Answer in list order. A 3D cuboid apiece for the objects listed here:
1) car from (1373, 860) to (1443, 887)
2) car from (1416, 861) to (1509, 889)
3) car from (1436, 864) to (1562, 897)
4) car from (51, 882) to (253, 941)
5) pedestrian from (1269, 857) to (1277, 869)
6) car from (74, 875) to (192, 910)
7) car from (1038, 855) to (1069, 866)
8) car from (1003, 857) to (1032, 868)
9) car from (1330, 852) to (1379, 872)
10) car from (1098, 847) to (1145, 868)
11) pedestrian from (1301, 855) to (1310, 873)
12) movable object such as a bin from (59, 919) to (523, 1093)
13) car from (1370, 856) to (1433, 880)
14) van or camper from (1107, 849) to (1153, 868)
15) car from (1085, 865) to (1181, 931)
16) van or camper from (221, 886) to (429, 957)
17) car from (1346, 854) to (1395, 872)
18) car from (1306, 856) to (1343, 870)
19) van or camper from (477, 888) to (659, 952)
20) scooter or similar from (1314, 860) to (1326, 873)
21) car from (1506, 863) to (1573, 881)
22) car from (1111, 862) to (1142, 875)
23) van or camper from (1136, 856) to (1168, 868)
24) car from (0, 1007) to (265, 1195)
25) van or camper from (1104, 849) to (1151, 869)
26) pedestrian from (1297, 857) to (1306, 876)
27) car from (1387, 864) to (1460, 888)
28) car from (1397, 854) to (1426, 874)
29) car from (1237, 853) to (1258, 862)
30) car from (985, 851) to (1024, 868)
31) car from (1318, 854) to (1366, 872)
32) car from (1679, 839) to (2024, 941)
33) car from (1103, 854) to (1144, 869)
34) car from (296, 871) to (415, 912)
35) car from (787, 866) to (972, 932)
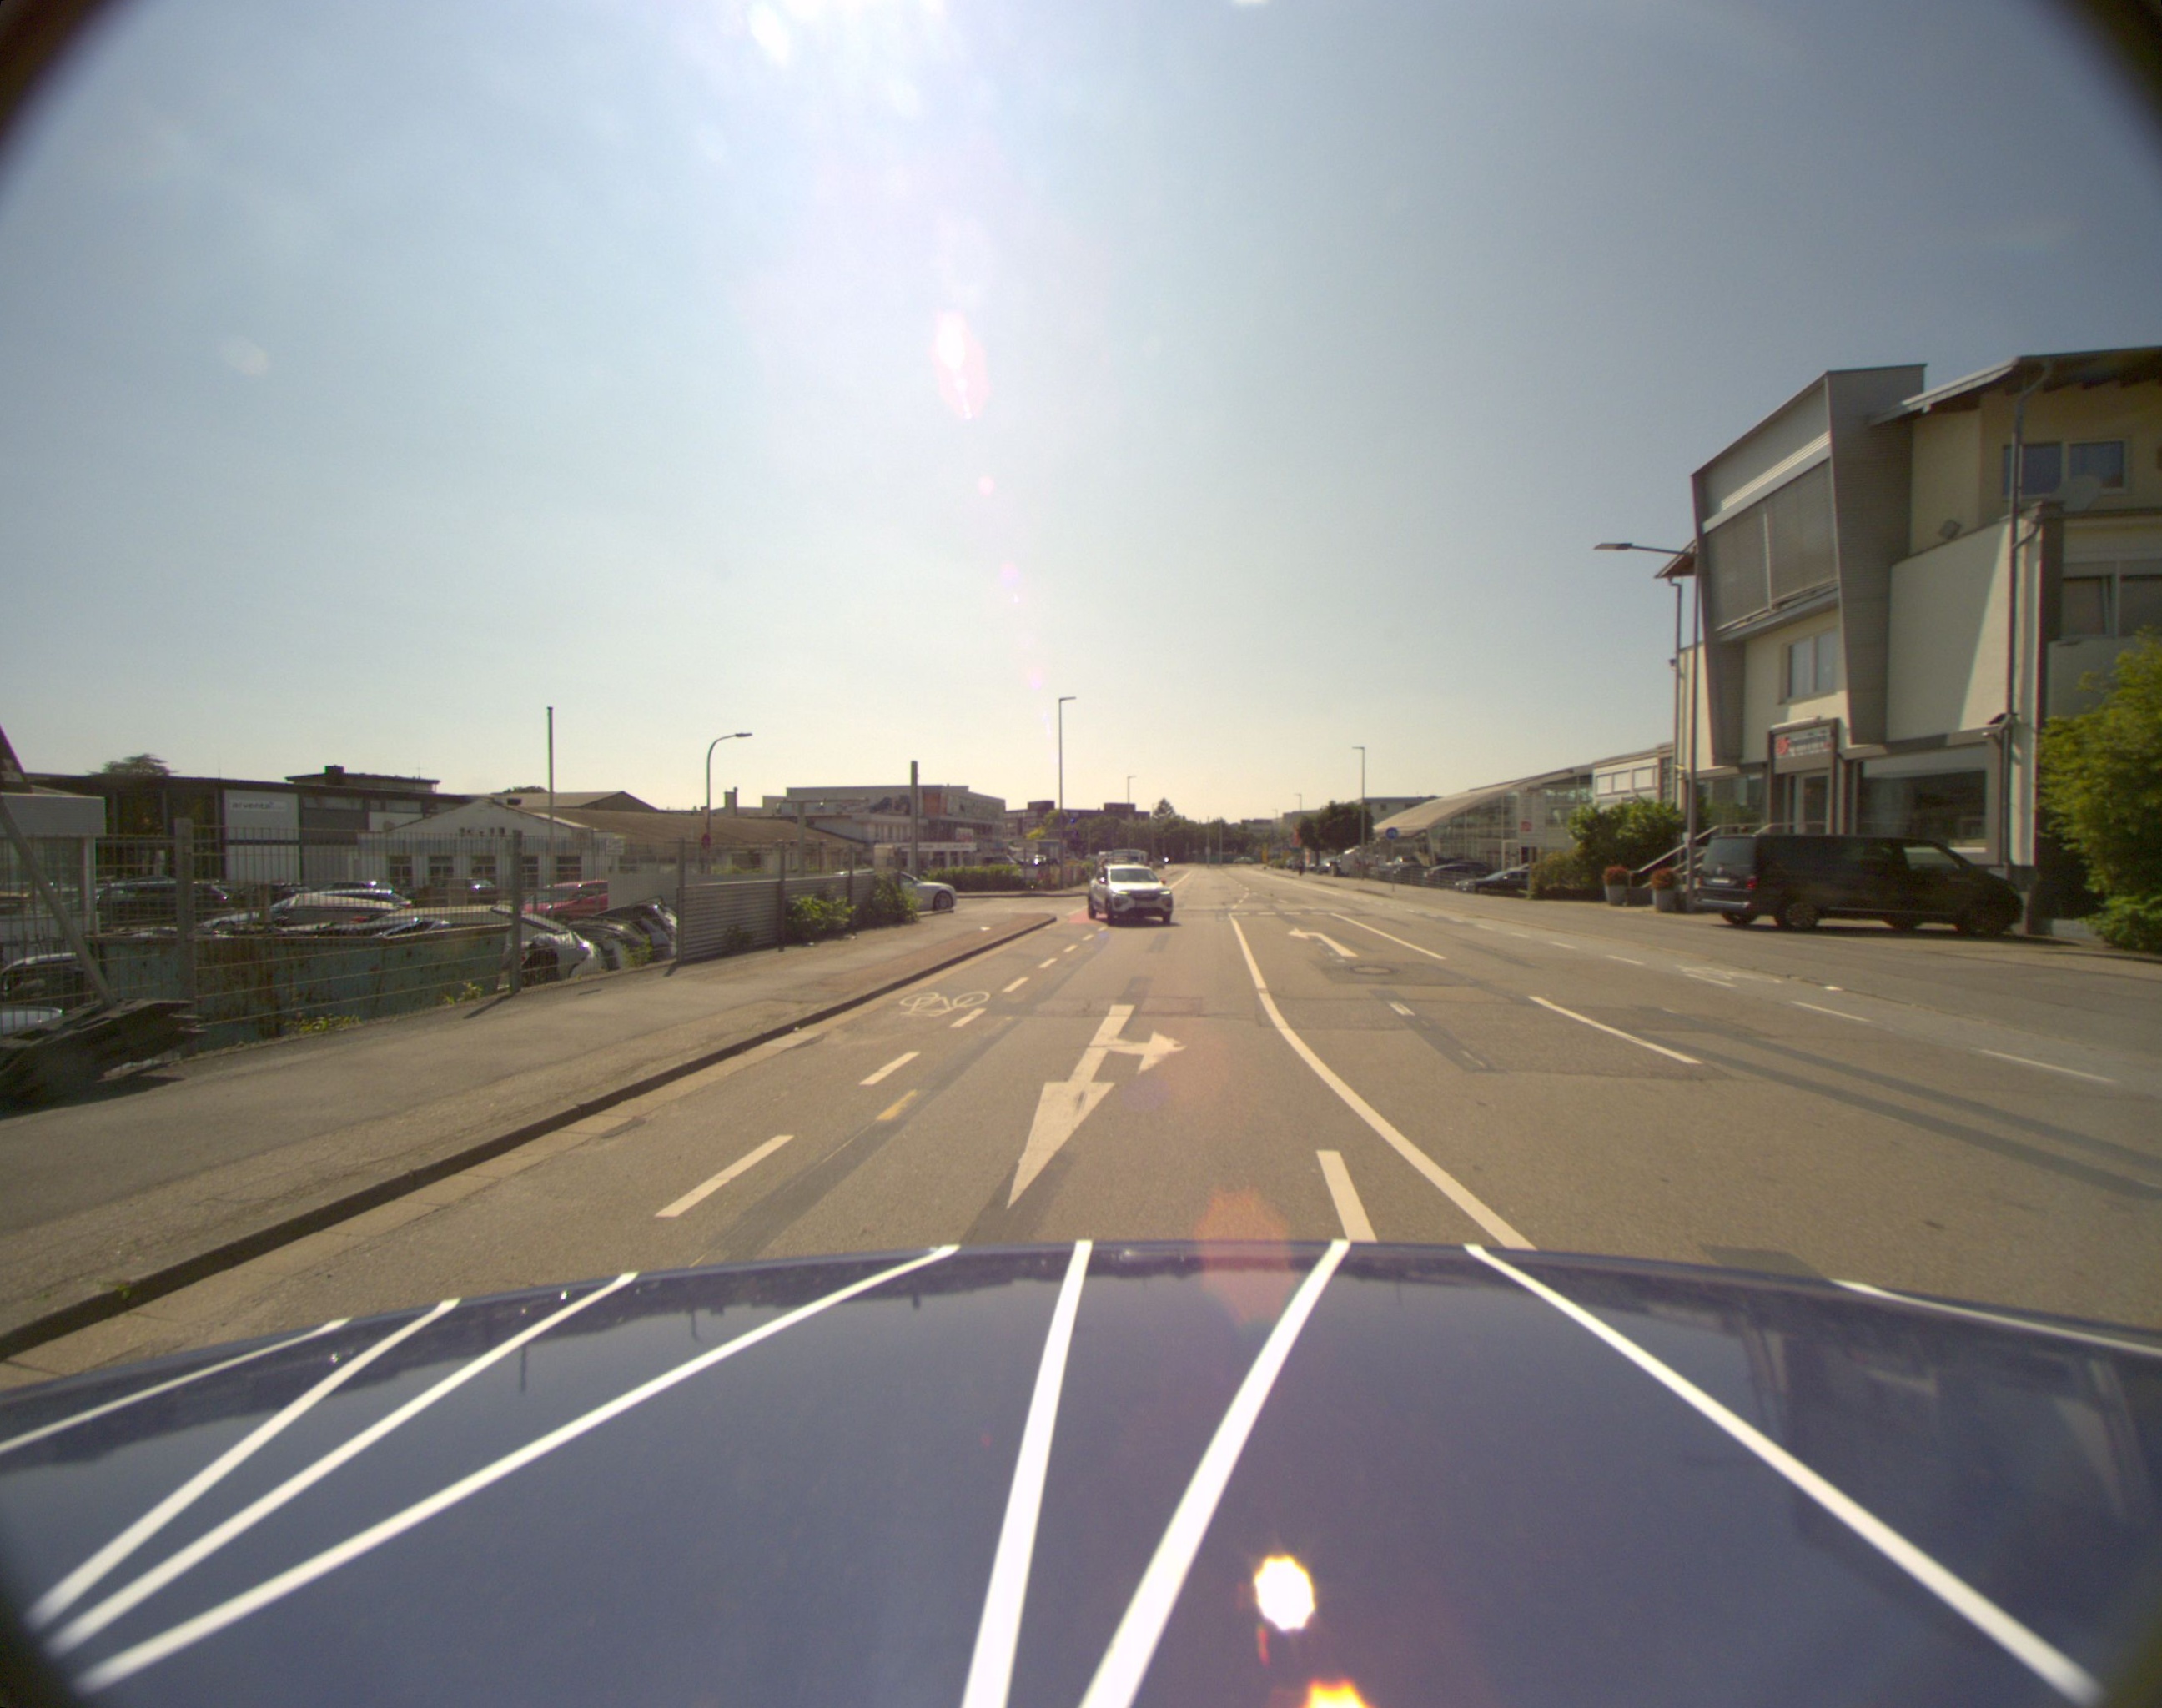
[{"bbox_3d":[22.688,1.319,52.820,3.994,1.435,1.860,6,1,7],"label":"car"},{"bbox_3d":[21.601,1.169,43.145,4.305,1.549,1.996,0,0,6],"label":"car"},{"bbox_3d":[19.348,1.195,35.361,4.748,1.472,2.049,0,0,8],"label":"car"},{"bbox_3d":[-29.704,1.769,24.441,1.994,1.637,4.009,-2,-2,39],"label":"car"},{"bbox_3d":[28.604,1.347,113.207,0.995,1.676,0.800,0,0,20],"label":"pedestrian"},{"bbox_3d":[-56.508,2.250,45.395,1.760,1.892,4.004,0,0,13],"label":"car"},{"bbox_3d":[-4.192,1.026,116.269,4.547,1.668,2.001,0,0,6],"label":"car"},{"bbox_3d":[-9.797,1.270,116.825,4.113,1.723,2.001,0,0,6],"label":"car"},{"bbox_3d":[26.512,0.786,73.660,4.486,1.698,1.907,-2,0,-26],"label":"car"},{"bbox_3d":[5.529,0.433,103.842,6.238,2.852,2.322,0,0,10],"label":"car"},{"bbox_3d":[22.939,1.054,77.634,0.724,1.837,0.912,0,0,7],"label":"pedestrian"},{"bbox_3d":[-11.228,2.129,10.972,5.125,2.002,2.001,-3,0,9],"label":"movable object such as a bin"},{"bbox_3d":[23.318,1.015,55.421,3.897,1.436,1.824,-4,2,10],"label":"car"},{"bbox_3d":[7.091,0.705,109.580,6.360,2.700,2.714,0,0,9],"label":"van or camper"},{"bbox_3d":[1.234,1.057,19.620,1.728,1.476,3.674,0,0,-9],"label":"car"},{"bbox_3d":[-23.065,1.966,23.344,1.993,1.535,4.237,5,5,36],"label":"van or camper"},{"bbox_3d":[26.703,0.821,70.138,4.004,1.541,1.856,-1,0,-21],"label":"car"},{"bbox_3d":[28.186,0.994,87.829,4.168,1.451,1.903,-2,0,-34],"label":"car"},{"bbox_3d":[-14.883,1.869,22.388,1.997,1.343,4.232,-6,-1,8],"label":"van or camper"},{"bbox_3d":[23.537,1.205,74.950,0.745,1.240,1.491,-1,0,1],"label":"scooter or similar"},{"bbox_3d":[34.752,1.352,57.695,3.994,1.351,1.860,-1,0,9],"label":"car"},{"bbox_3d":[5.884,1.898,98.348,3.928,1.584,1.799,0,0,9],"label":"car"},{"bbox_3d":[12.178,1.361,130.147,5.142,1.950,1.983,1,1,-21],"label":"van or camper"},{"bbox_3d":[-11.611,2.534,8.023,3.995,1.295,2.001,-3,0,5],"label":"car"},{"bbox_3d":[6.573,0.687,106.720,6.360,2.684,2.714,0,0,9],"label":"van or camper"},{"bbox_3d":[21.079,1.184,72.668,0.733,1.856,1.048,0,0,14],"label":"pedestrian"},{"bbox_3d":[22.623,1.446,50.274,3.995,1.482,1.859,0,2,6],"label":"car"},{"bbox_3d":[29.999,0.887,68.990,1.996,1.674,4.005,-1,0,18],"label":"car"},{"bbox_3d":[37.055,0.769,169.378,3.990,1.696,2.004,-3,0,31],"label":"car"},{"bbox_3d":[-11.135,0.826,111.321,5.308,2.404,2.327,0,0,5],"label":"car"},{"bbox_3d":[26.383,0.901,76.783,4.586,1.686,1.855,-1,0,-26],"label":"car"},{"bbox_3d":[15.448,0.663,15.558,4.573,1.854,2.094,1,0,10],"label":"car"},{"bbox_3d":[5.714,0.956,101.138,5.243,1.940,2.001,1,0,9],"label":"car"},{"bbox_3d":[-34.891,1.802,36.609,3.995,1.783,2.001,-2,0,6],"label":"car"},{"bbox_3d":[-5.368,1.179,20.772,1.953,1.350,4.505,-4,0,39],"label":"car"}]
